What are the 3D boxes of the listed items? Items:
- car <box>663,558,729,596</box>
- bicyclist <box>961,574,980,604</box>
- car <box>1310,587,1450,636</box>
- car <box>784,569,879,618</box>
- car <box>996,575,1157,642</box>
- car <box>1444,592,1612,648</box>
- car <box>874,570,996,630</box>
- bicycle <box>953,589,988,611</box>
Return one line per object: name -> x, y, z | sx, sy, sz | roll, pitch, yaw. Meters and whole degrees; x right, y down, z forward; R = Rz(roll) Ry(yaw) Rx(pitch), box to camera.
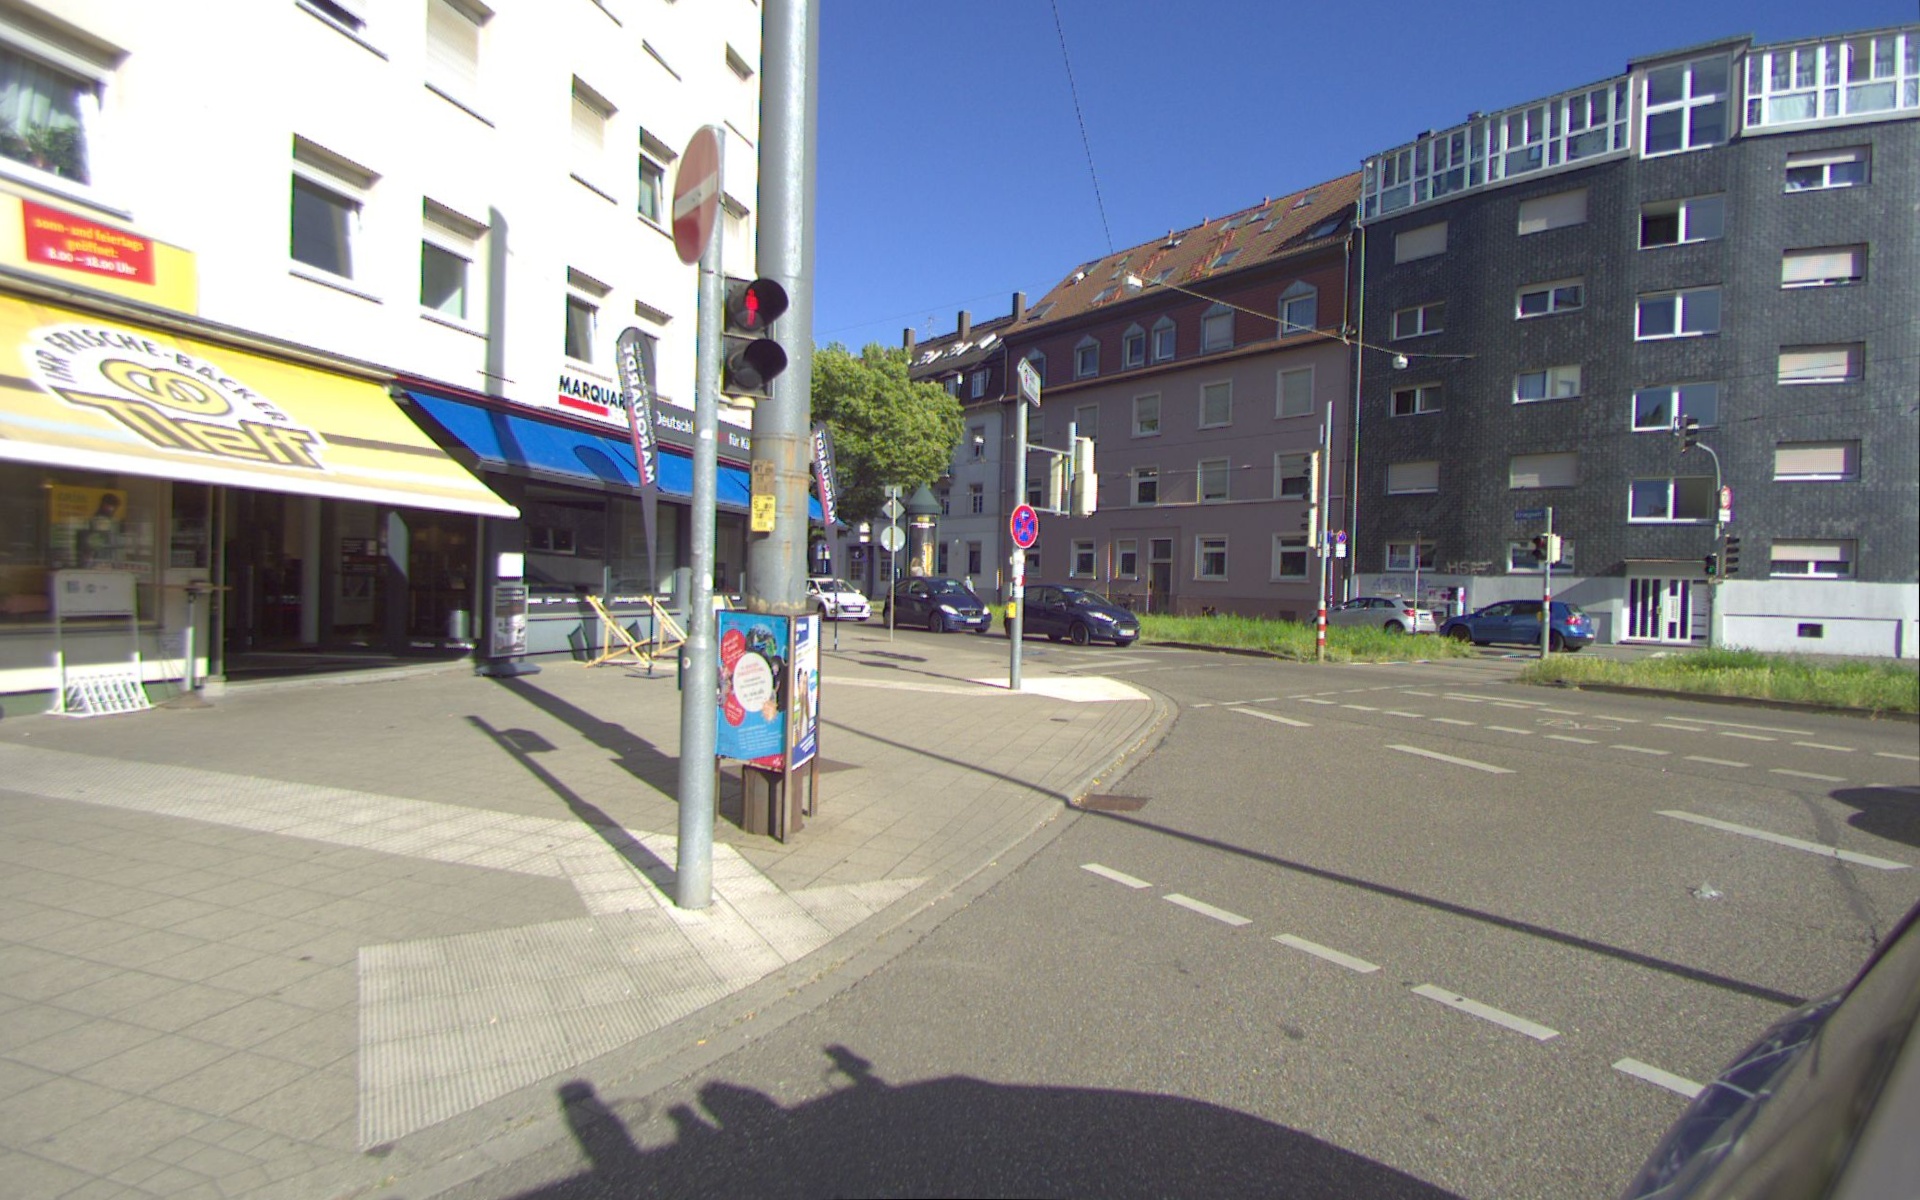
car -> -11.929, -1.063, 45.578 | 1.627, 1.600, 3.772 | 1, 1, -35
bicyclist -> 0.506, -0.520, 48.755 | 0.500, 1.426, 0.805 | 1, 1, -39
car -> 13.905, 0.341, 33.680 | 1.657, 1.433, 3.999 | 1, 1, -37
car -> -4.605, -0.245, 35.839 | 1.627, 1.600, 4.001 | 1, 1, -35
car -> 2.797, 0.171, 25.082 | 1.701, 1.471, 4.001 | 2, 0, -35
car -> 16.673, 0.552, 29.867 | 1.657, 1.433, 3.999 | 1, 1, -37
car -> -0.797, -0.053, 29.616 | 1.627, 1.600, 4.001 | 1, 1, -35
bicycle -> 0.499, -0.001, 48.763 | 0.497, 0.967, 1.996 | 1, 1, -38
